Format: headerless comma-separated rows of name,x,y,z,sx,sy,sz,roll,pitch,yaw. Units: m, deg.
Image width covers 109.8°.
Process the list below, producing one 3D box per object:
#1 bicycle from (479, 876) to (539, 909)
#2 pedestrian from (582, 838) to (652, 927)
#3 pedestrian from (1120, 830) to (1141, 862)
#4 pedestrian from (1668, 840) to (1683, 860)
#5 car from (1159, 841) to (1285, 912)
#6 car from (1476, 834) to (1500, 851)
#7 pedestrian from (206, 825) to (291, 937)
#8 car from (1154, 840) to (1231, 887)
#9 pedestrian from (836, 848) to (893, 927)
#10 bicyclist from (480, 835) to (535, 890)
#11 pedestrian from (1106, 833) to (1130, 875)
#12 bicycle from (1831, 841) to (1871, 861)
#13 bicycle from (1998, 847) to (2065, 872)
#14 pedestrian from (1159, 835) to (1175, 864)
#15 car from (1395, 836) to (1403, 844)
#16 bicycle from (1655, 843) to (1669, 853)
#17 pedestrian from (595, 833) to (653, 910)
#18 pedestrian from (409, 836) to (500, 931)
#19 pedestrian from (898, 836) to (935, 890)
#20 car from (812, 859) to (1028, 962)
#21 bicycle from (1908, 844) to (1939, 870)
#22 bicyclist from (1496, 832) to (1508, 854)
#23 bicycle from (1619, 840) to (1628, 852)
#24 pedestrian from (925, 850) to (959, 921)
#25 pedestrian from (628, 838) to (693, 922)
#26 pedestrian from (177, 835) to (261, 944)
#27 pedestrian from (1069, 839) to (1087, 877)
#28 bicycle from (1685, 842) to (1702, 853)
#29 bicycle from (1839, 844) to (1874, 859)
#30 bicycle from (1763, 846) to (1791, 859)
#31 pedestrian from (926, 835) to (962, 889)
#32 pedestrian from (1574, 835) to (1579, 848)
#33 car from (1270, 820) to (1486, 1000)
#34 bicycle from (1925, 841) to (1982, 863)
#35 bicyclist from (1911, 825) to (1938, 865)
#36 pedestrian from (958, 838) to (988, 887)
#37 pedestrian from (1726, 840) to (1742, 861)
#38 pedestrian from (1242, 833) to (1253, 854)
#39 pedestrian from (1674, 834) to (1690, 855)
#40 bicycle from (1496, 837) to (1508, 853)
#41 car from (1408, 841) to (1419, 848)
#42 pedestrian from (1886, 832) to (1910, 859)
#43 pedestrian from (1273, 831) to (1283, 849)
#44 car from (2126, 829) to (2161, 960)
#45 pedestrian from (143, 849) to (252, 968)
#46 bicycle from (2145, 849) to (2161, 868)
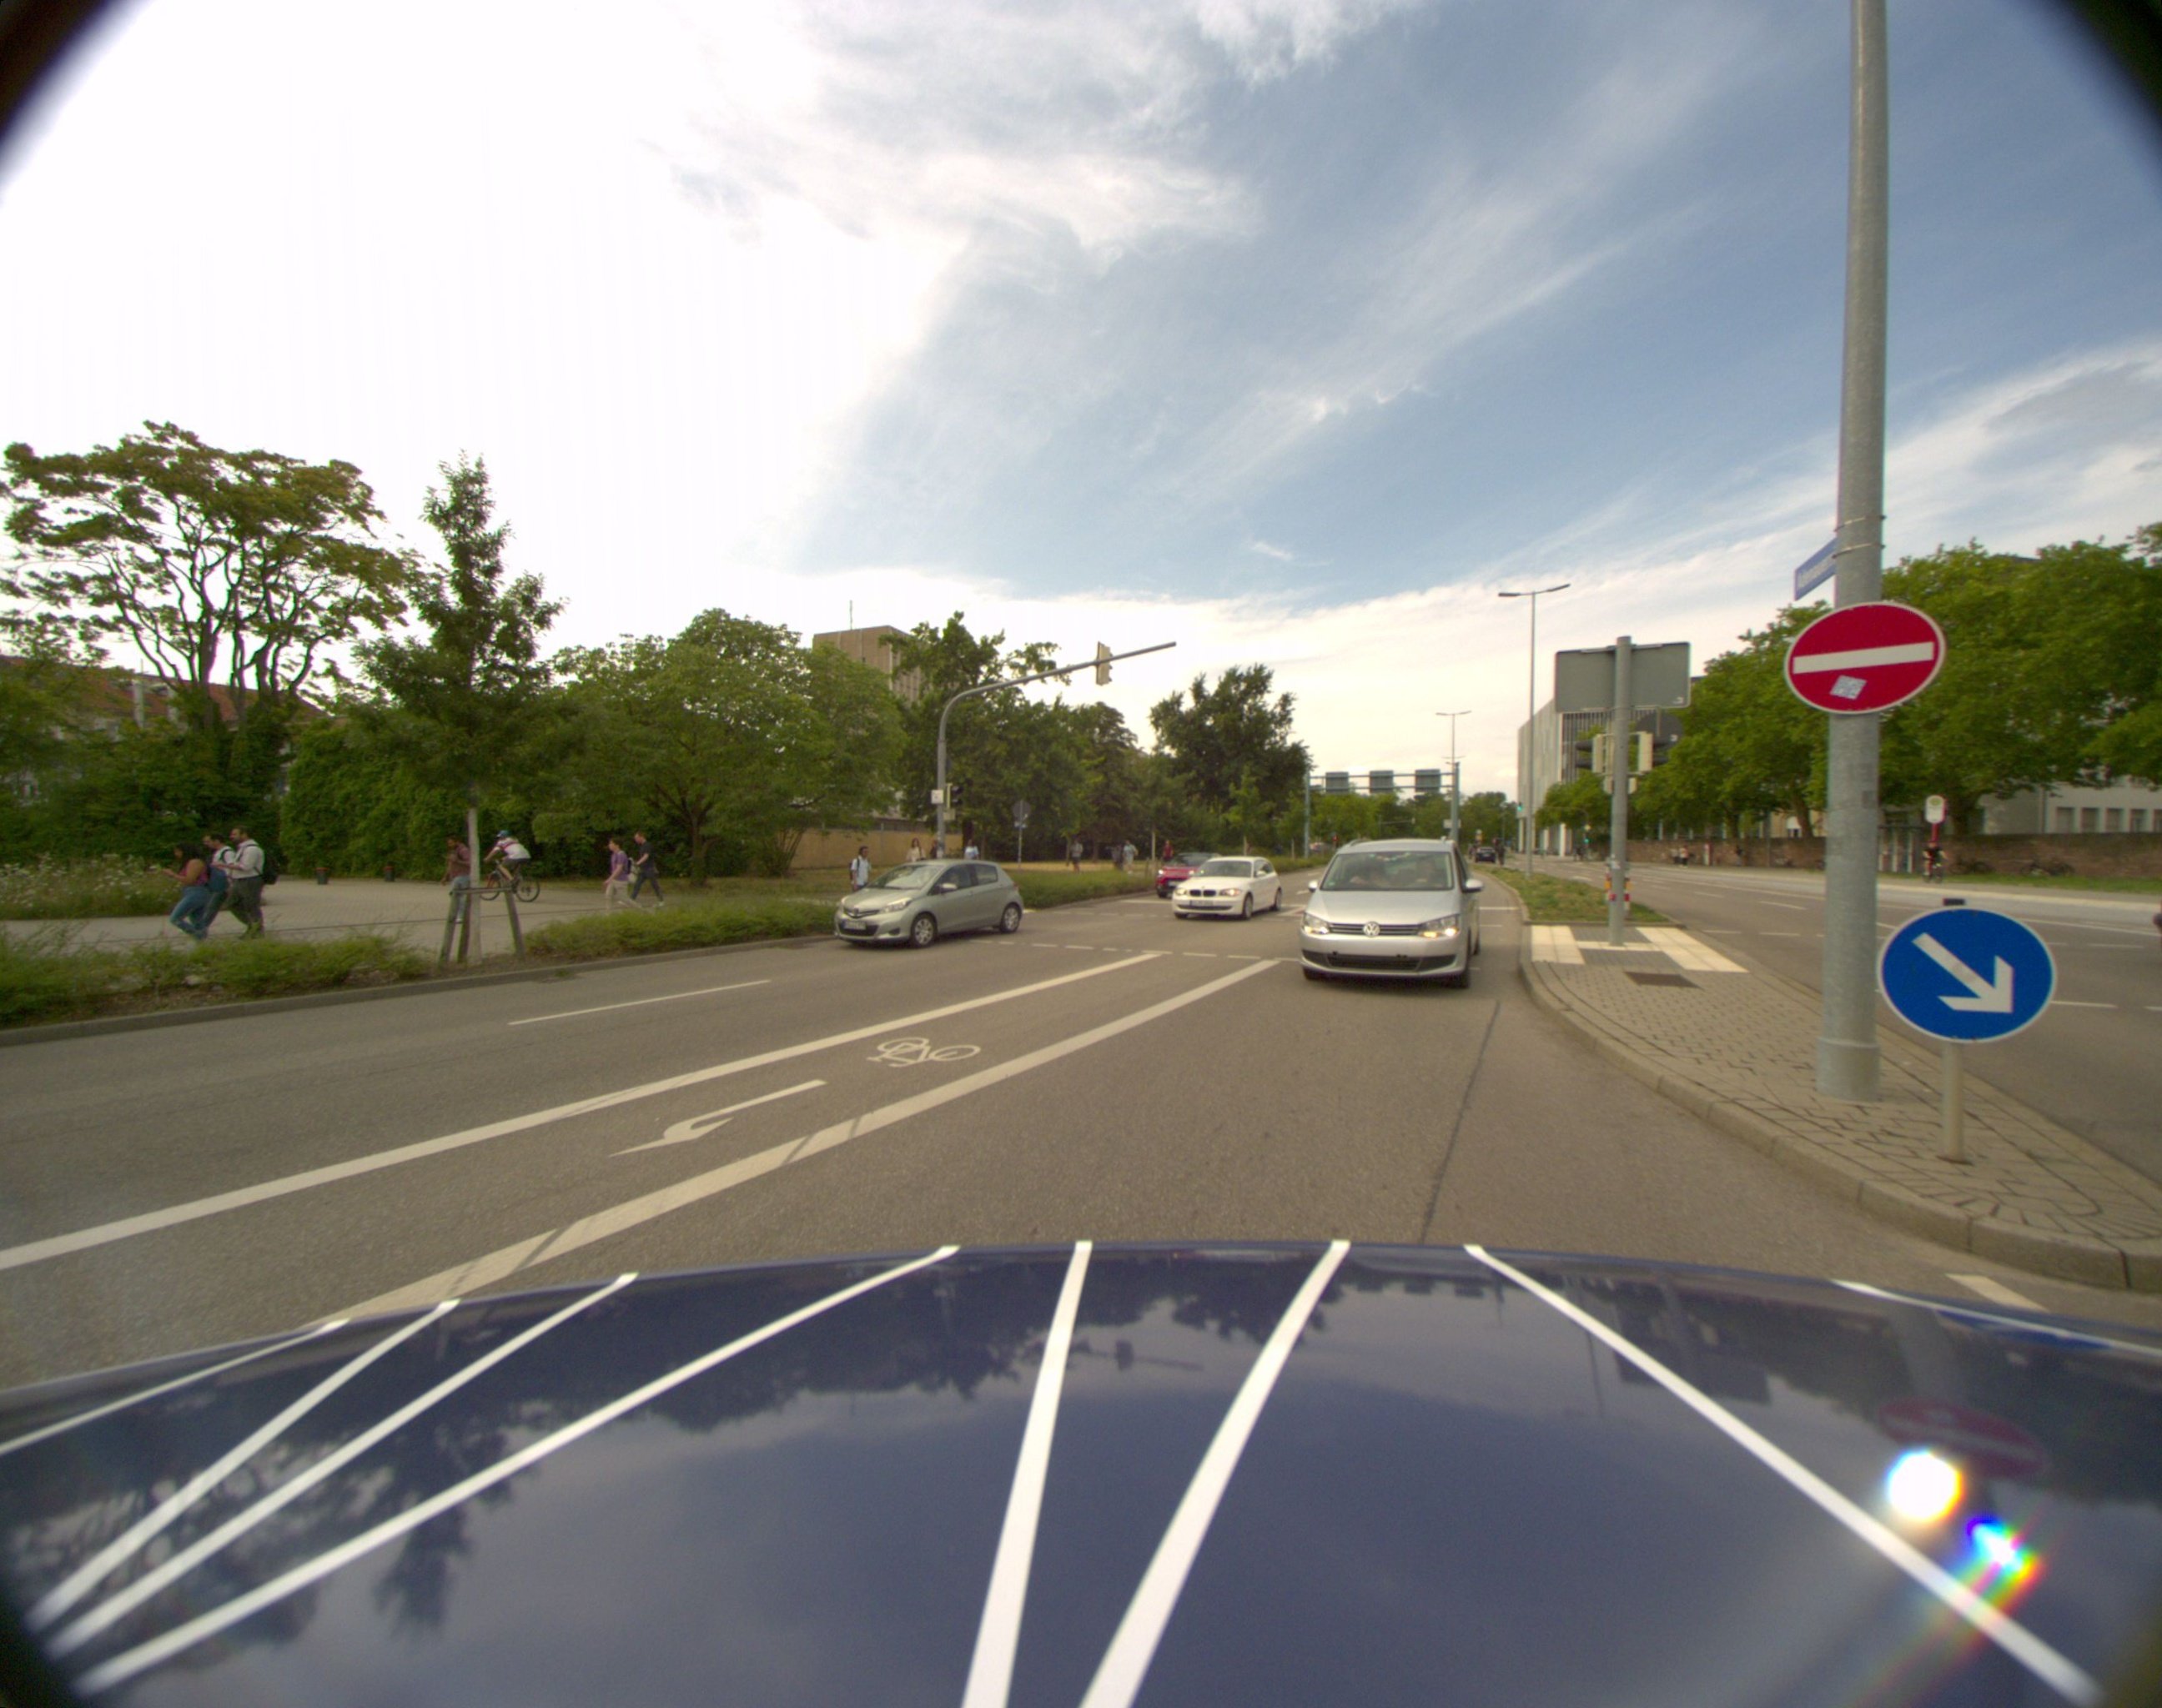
bicycle,-13.908,0.916,18.530,0.845,0.690,1.841,-3,1,-28
pedestrian,-9.237,0.553,15.125,0.837,1.701,0.801,-1,1,29
pedestrian,2.648,-0.437,40.570,0.840,1.701,0.696,-2,1,22
pedestrian,50.187,-0.321,64.139,0.753,1.612,0.666,-2,1,20
car,3.528,0.473,18.412,1.756,1.450,4.230,-2,1,28
car,39.001,-1.131,72.950,1.785,1.481,4.136,3,3,25
pedestrian,-13.196,0.409,12.054,0.638,1.701,0.709,-1,2,29
car,3.859,0.290,25.763,1.667,1.407,3.462,-2,1,24
pedestrian,-4.864,0.741,17.120,0.798,1.701,0.841,-1,2,31
bicyclist,-13.895,0.204,18.447,0.841,1.270,1.011,-3,1,-27
pedestrian,1.565,-0.003,32.014,0.733,1.701,0.694,-1,2,29
bicycle,47.583,-0.170,46.954,2.100,1.182,0.757,2,2,-14
bicycle,47.798,0.238,38.228,0.758,1.182,2.099,2,1,4
pedestrian,5.079,-0.252,45.033,0.713,1.701,0.696,-1,1,25
car,92.111,-4.094,220.062,1.995,2.002,4.006,-2,1,24
bicycle,53.642,-0.598,70.154,0.432,0.882,1.578,-3,0,15
pedestrian,-10.983,0.400,18.275,0.837,1.798,0.801,-1,1,29
pedestrian,-11.819,0.535,14.353,0.837,1.701,1.014,-1,1,29
pedestrian,-5.344,0.278,24.711,0.838,1.701,0.800,-2,1,11
car,-2.786,0.922,14.029,1.667,1.481,3.882,-1,1,30
bicycle,33.551,0.107,30.264,0.504,0.931,1.975,1,4,39
bicyclist,33.096,-0.835,59.743,0.776,1.701,1.088,3,2,28
bicycle,56.650,-0.823,79.360,0.512,1.202,1.398,-1,1,25
pedestrian,-3.391,0.754,18.542,0.480,1.701,0.589,-1,2,31
pedestrian,-8.794,0.526,15.906,0.837,1.701,0.801,-1,1,29
pedestrian,-13.897,0.552,12.257,0.638,1.701,0.709,-1,2,29
pedestrian,-0.132,0.155,34.637,0.543,1.687,0.696,2,3,22
bicycle,52.067,-0.556,64.590,0.432,0.882,1.578,-3,0,15
bicycle,48.948,-0.152,47.996,0.661,0.882,1.577,-3,0,6
bicycle,49.963,-0.124,54.587,0.661,0.882,1.577,-3,0,6
pedestrian,-4.431,0.246,24.618,0.838,1.701,0.800,-2,1,11
pedestrian,56.680,-1.399,86.954,0.401,1.449,0.474,-2,1,20
car,4.000,0.494,9.678,1.820,1.724,4.536,-1,1,30
bicycle,48.210,-0.115,42.029,0.758,1.182,2.099,2,1,4
bicyclist,33.527,-0.371,30.218,0.578,1.547,0.799,1,4,40
pedestrian,-3.846,0.283,27.119,0.713,1.701,0.801,-2,1,22
pedestrian,50.607,-0.248,58.884,0.755,1.612,0.665,-2,1,-15
pedestrian,13.844,-0.859,63.171,0.713,1.701,0.696,-1,1,25
pedestrian,45.772,-0.714,57.884,0.753,1.612,0.666,-2,1,20
bicycle,33.091,-0.683,59.756,0.756,1.182,2.102,3,1,28
car,80.729,-2.414,184.558,1.995,1.565,4.007,-2,1,29
pedestrian,48.549,-0.499,45.154,0.568,1.612,0.755,-2,1,4
pedestrian,18.740,-1.308,72.282,0.713,1.701,0.696,-1,1,25
car,12.187,0.499,6.832,1.696,1.472,4.423,-1,1,31
pedestrian,-12.395,0.723,10.674,0.837,1.534,0.801,3,4,29
bicycle,47.824,0.206,33.127,0.358,0.859,1.822,2,1,3
